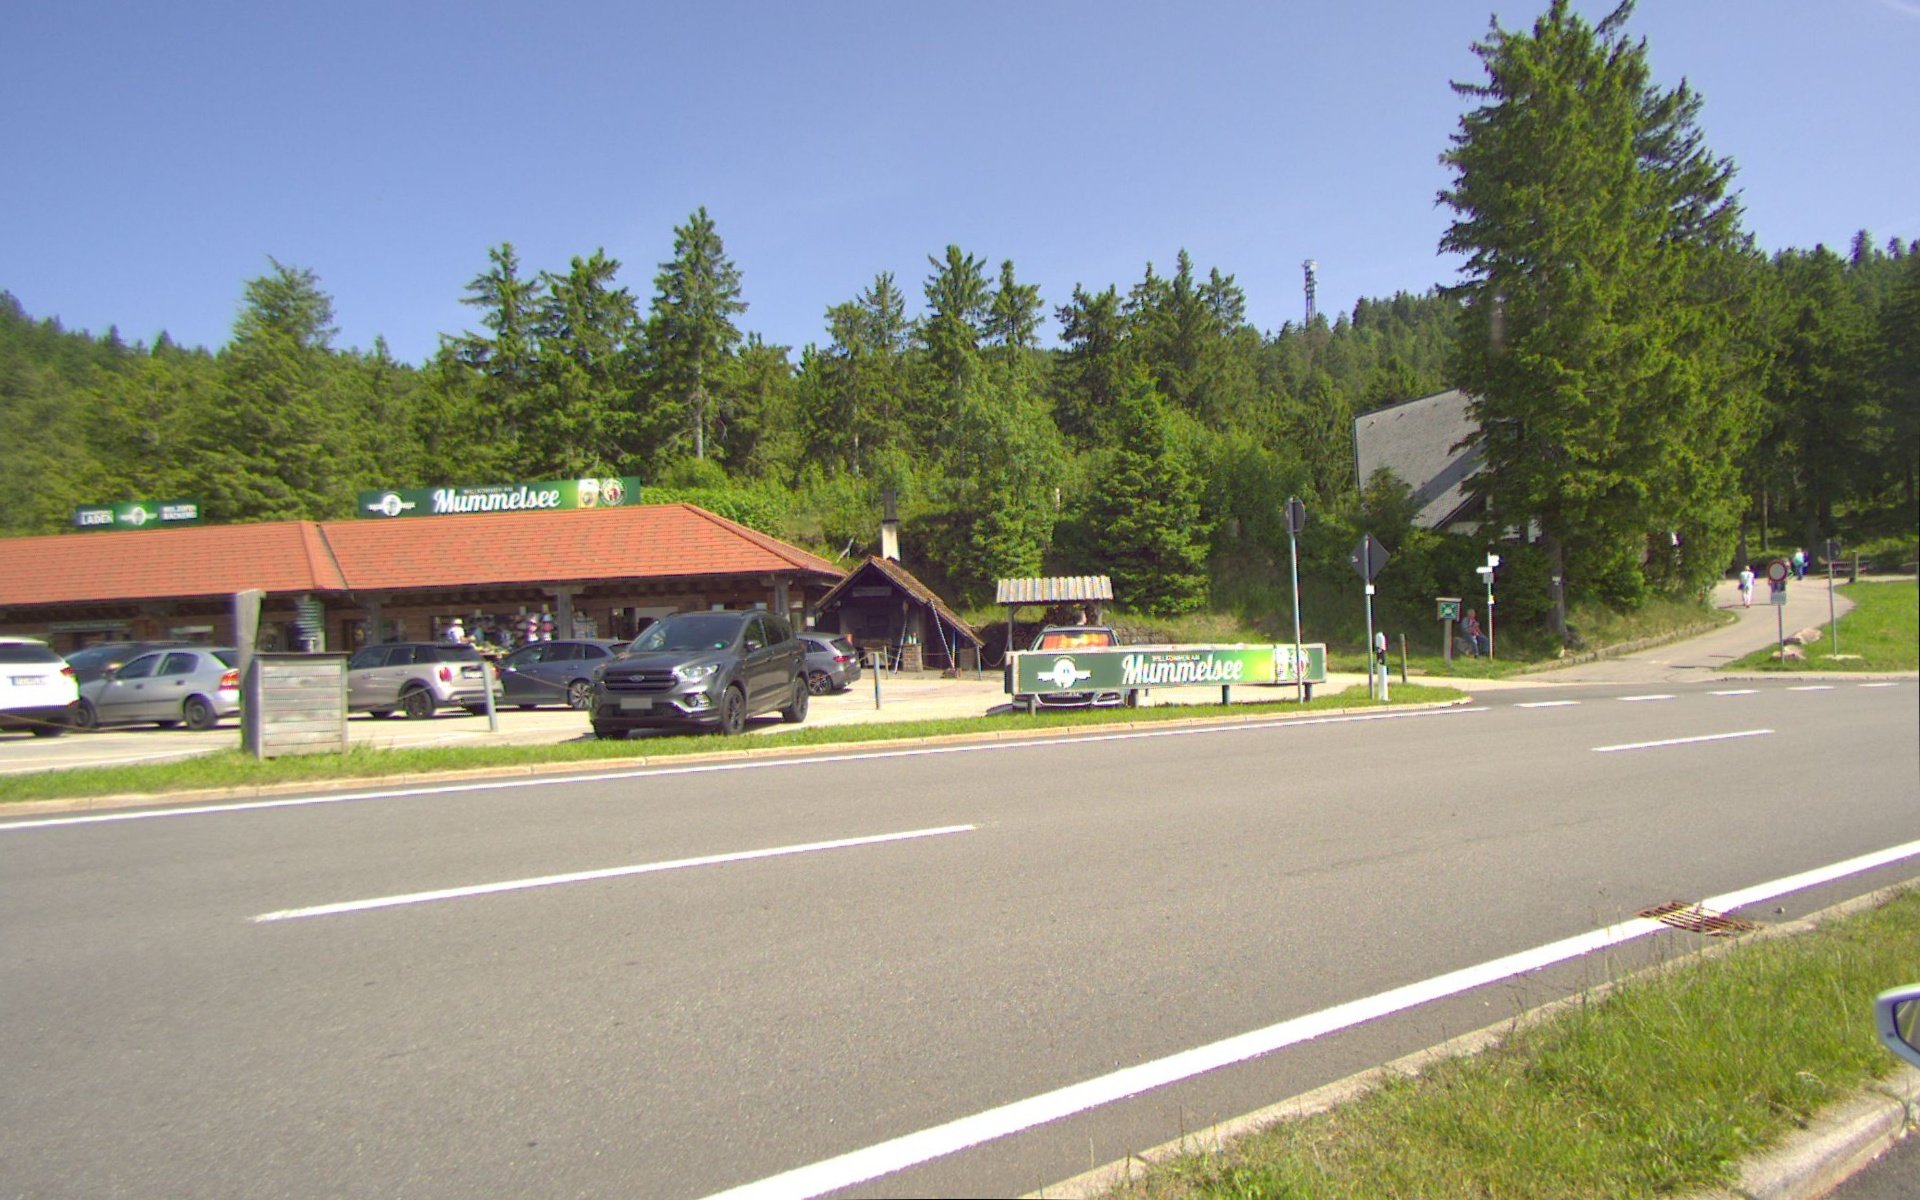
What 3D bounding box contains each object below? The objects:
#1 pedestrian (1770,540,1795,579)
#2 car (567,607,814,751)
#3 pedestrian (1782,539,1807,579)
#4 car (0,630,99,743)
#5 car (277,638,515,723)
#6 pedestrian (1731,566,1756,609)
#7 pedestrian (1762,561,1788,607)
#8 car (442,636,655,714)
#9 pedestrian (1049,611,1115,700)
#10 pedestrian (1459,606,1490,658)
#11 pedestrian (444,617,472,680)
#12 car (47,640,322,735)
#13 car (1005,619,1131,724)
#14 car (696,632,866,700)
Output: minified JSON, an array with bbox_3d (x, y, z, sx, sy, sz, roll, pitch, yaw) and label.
[{"bbox_3d":[44.822,-2.194,54.740,0.932,2.040,0.791,-1,-2,-40],"label":"pedestrian"},{"bbox_3d":[-3.456,0.983,13.782,1.753,1.655,4.214,-1,-2,8],"label":"car"},{"bbox_3d":[44.035,-2.135,53.010,0.846,2.040,0.808,-1,-2,-40],"label":"pedestrian"},{"bbox_3d":[-16.312,1.430,16.126,3.950,1.693,1.778,-3,-3,13],"label":"car"},{"bbox_3d":[-10.845,1.551,19.370,3.920,1.438,1.686,-3,-3,15],"label":"car"},{"bbox_3d":[32.099,-0.513,41.159,0.637,1.688,0.648,2,-3,-38],"label":"pedestrian"},{"bbox_3d":[33.245,-0.660,40.970,0.637,1.822,0.648,2,-3,-38],"label":"pedestrian"},{"bbox_3d":[-8.641,1.576,21.185,3.920,1.438,1.686,-3,-3,15],"label":"car"},{"bbox_3d":[2.522,1.148,20.827,0.950,1.757,0.892,-2,-2,-32],"label":"pedestrian"},{"bbox_3d":[15.603,0.967,30.472,0.546,1.553,0.574,-2,-2,-32],"label":"pedestrian"},{"bbox_3d":[-15.230,1.469,30.463,0.517,1.898,0.547,-1,-1,12],"label":"pedestrian"},{"bbox_3d":[-13.774,1.547,17.920,3.944,1.487,1.778,-3,-3,13],"label":"car"},{"bbox_3d":[1.887,1.107,16.543,1.709,1.460,3.973,-3,-2,10],"label":"car"},{"bbox_3d":[-4.564,1.695,25.907,3.919,1.514,1.686,-2,0,9],"label":"car"}]
